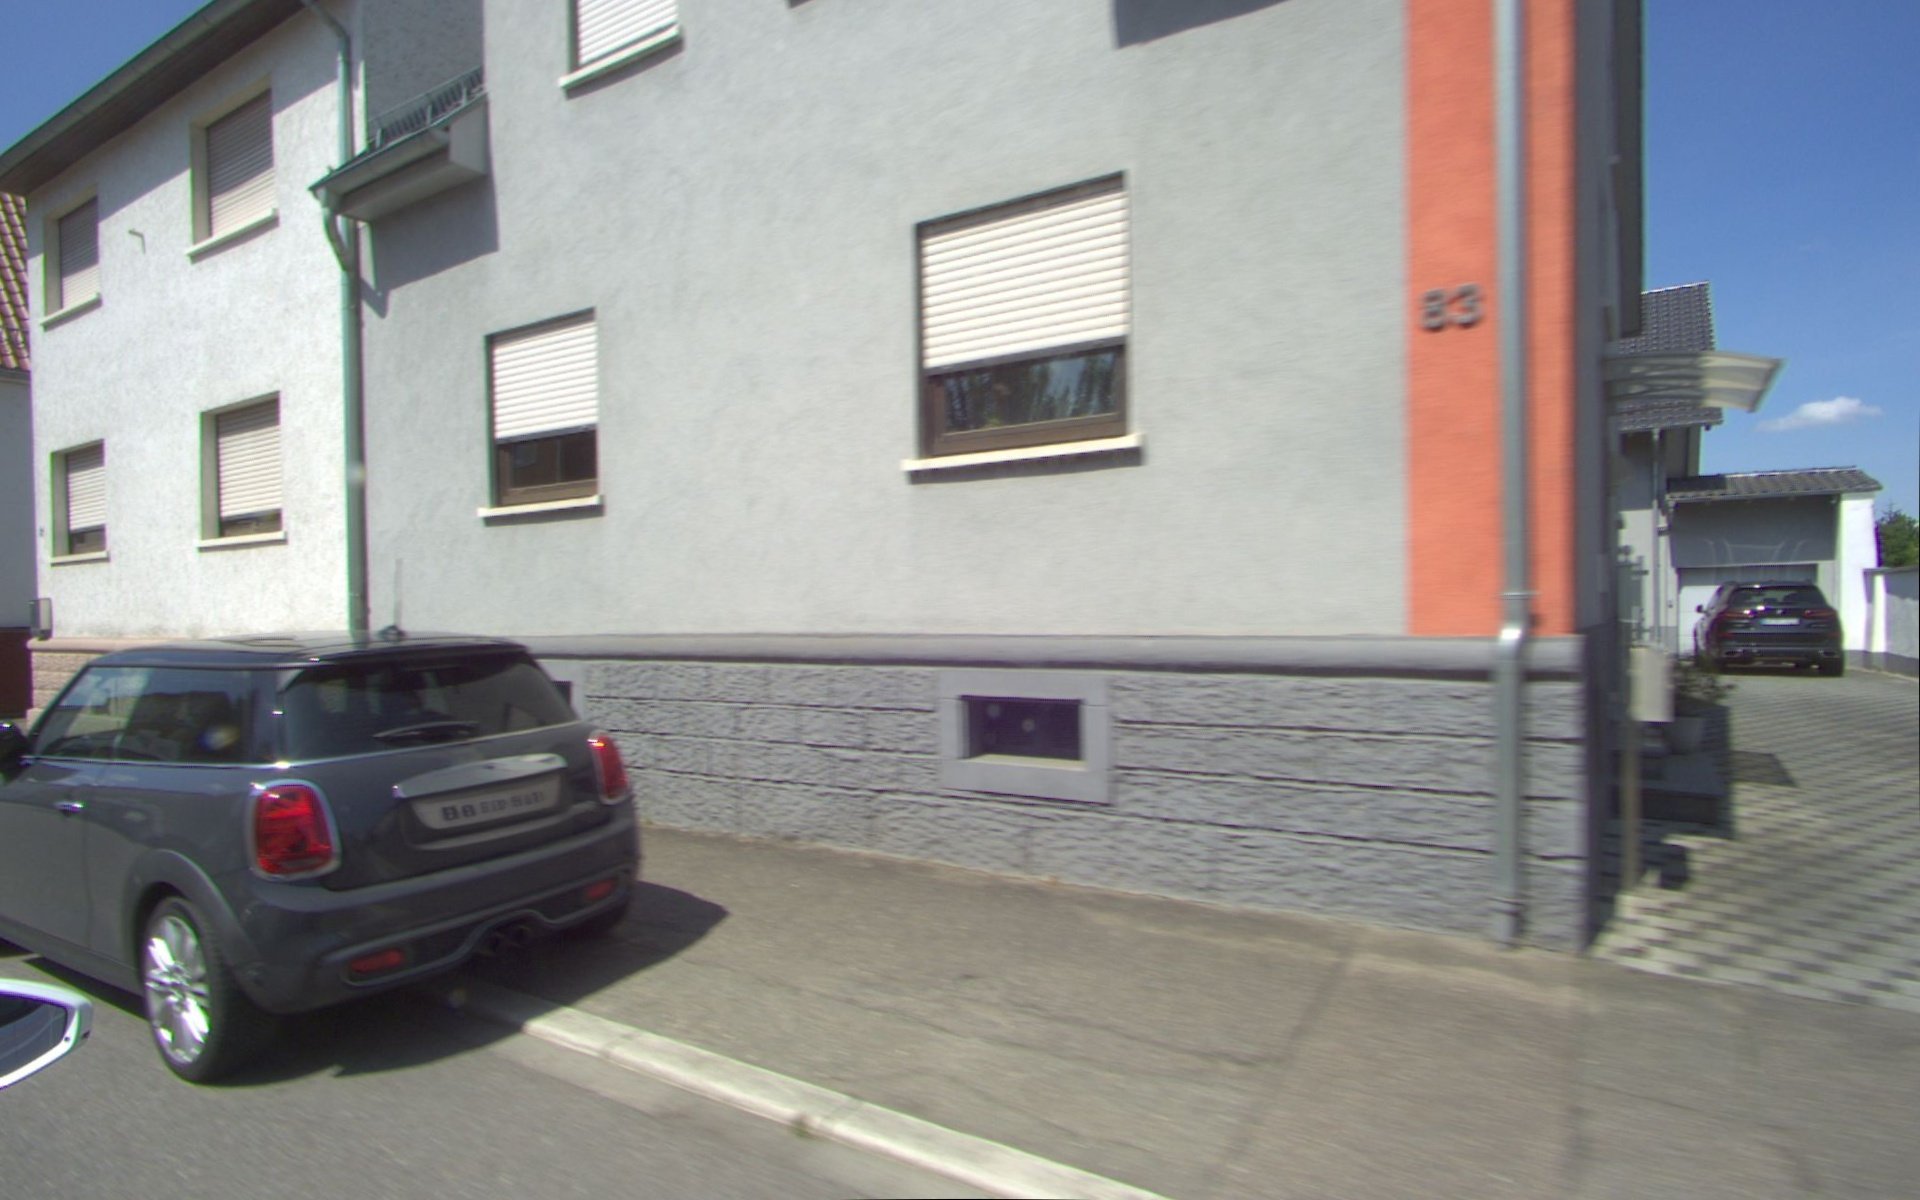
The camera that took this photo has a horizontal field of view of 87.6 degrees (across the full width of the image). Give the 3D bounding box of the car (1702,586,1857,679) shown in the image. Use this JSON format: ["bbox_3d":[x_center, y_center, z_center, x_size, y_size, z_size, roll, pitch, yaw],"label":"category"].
[{"bbox_3d":[15.669,0.648,19.374,1.973,1.572,4.558,-1,-2,35],"label":"car"}]

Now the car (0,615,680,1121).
[{"bbox_3d":[-3.180,0.813,4.576,3.605,1.441,1.685,-1,0,32],"label":"car"}]
